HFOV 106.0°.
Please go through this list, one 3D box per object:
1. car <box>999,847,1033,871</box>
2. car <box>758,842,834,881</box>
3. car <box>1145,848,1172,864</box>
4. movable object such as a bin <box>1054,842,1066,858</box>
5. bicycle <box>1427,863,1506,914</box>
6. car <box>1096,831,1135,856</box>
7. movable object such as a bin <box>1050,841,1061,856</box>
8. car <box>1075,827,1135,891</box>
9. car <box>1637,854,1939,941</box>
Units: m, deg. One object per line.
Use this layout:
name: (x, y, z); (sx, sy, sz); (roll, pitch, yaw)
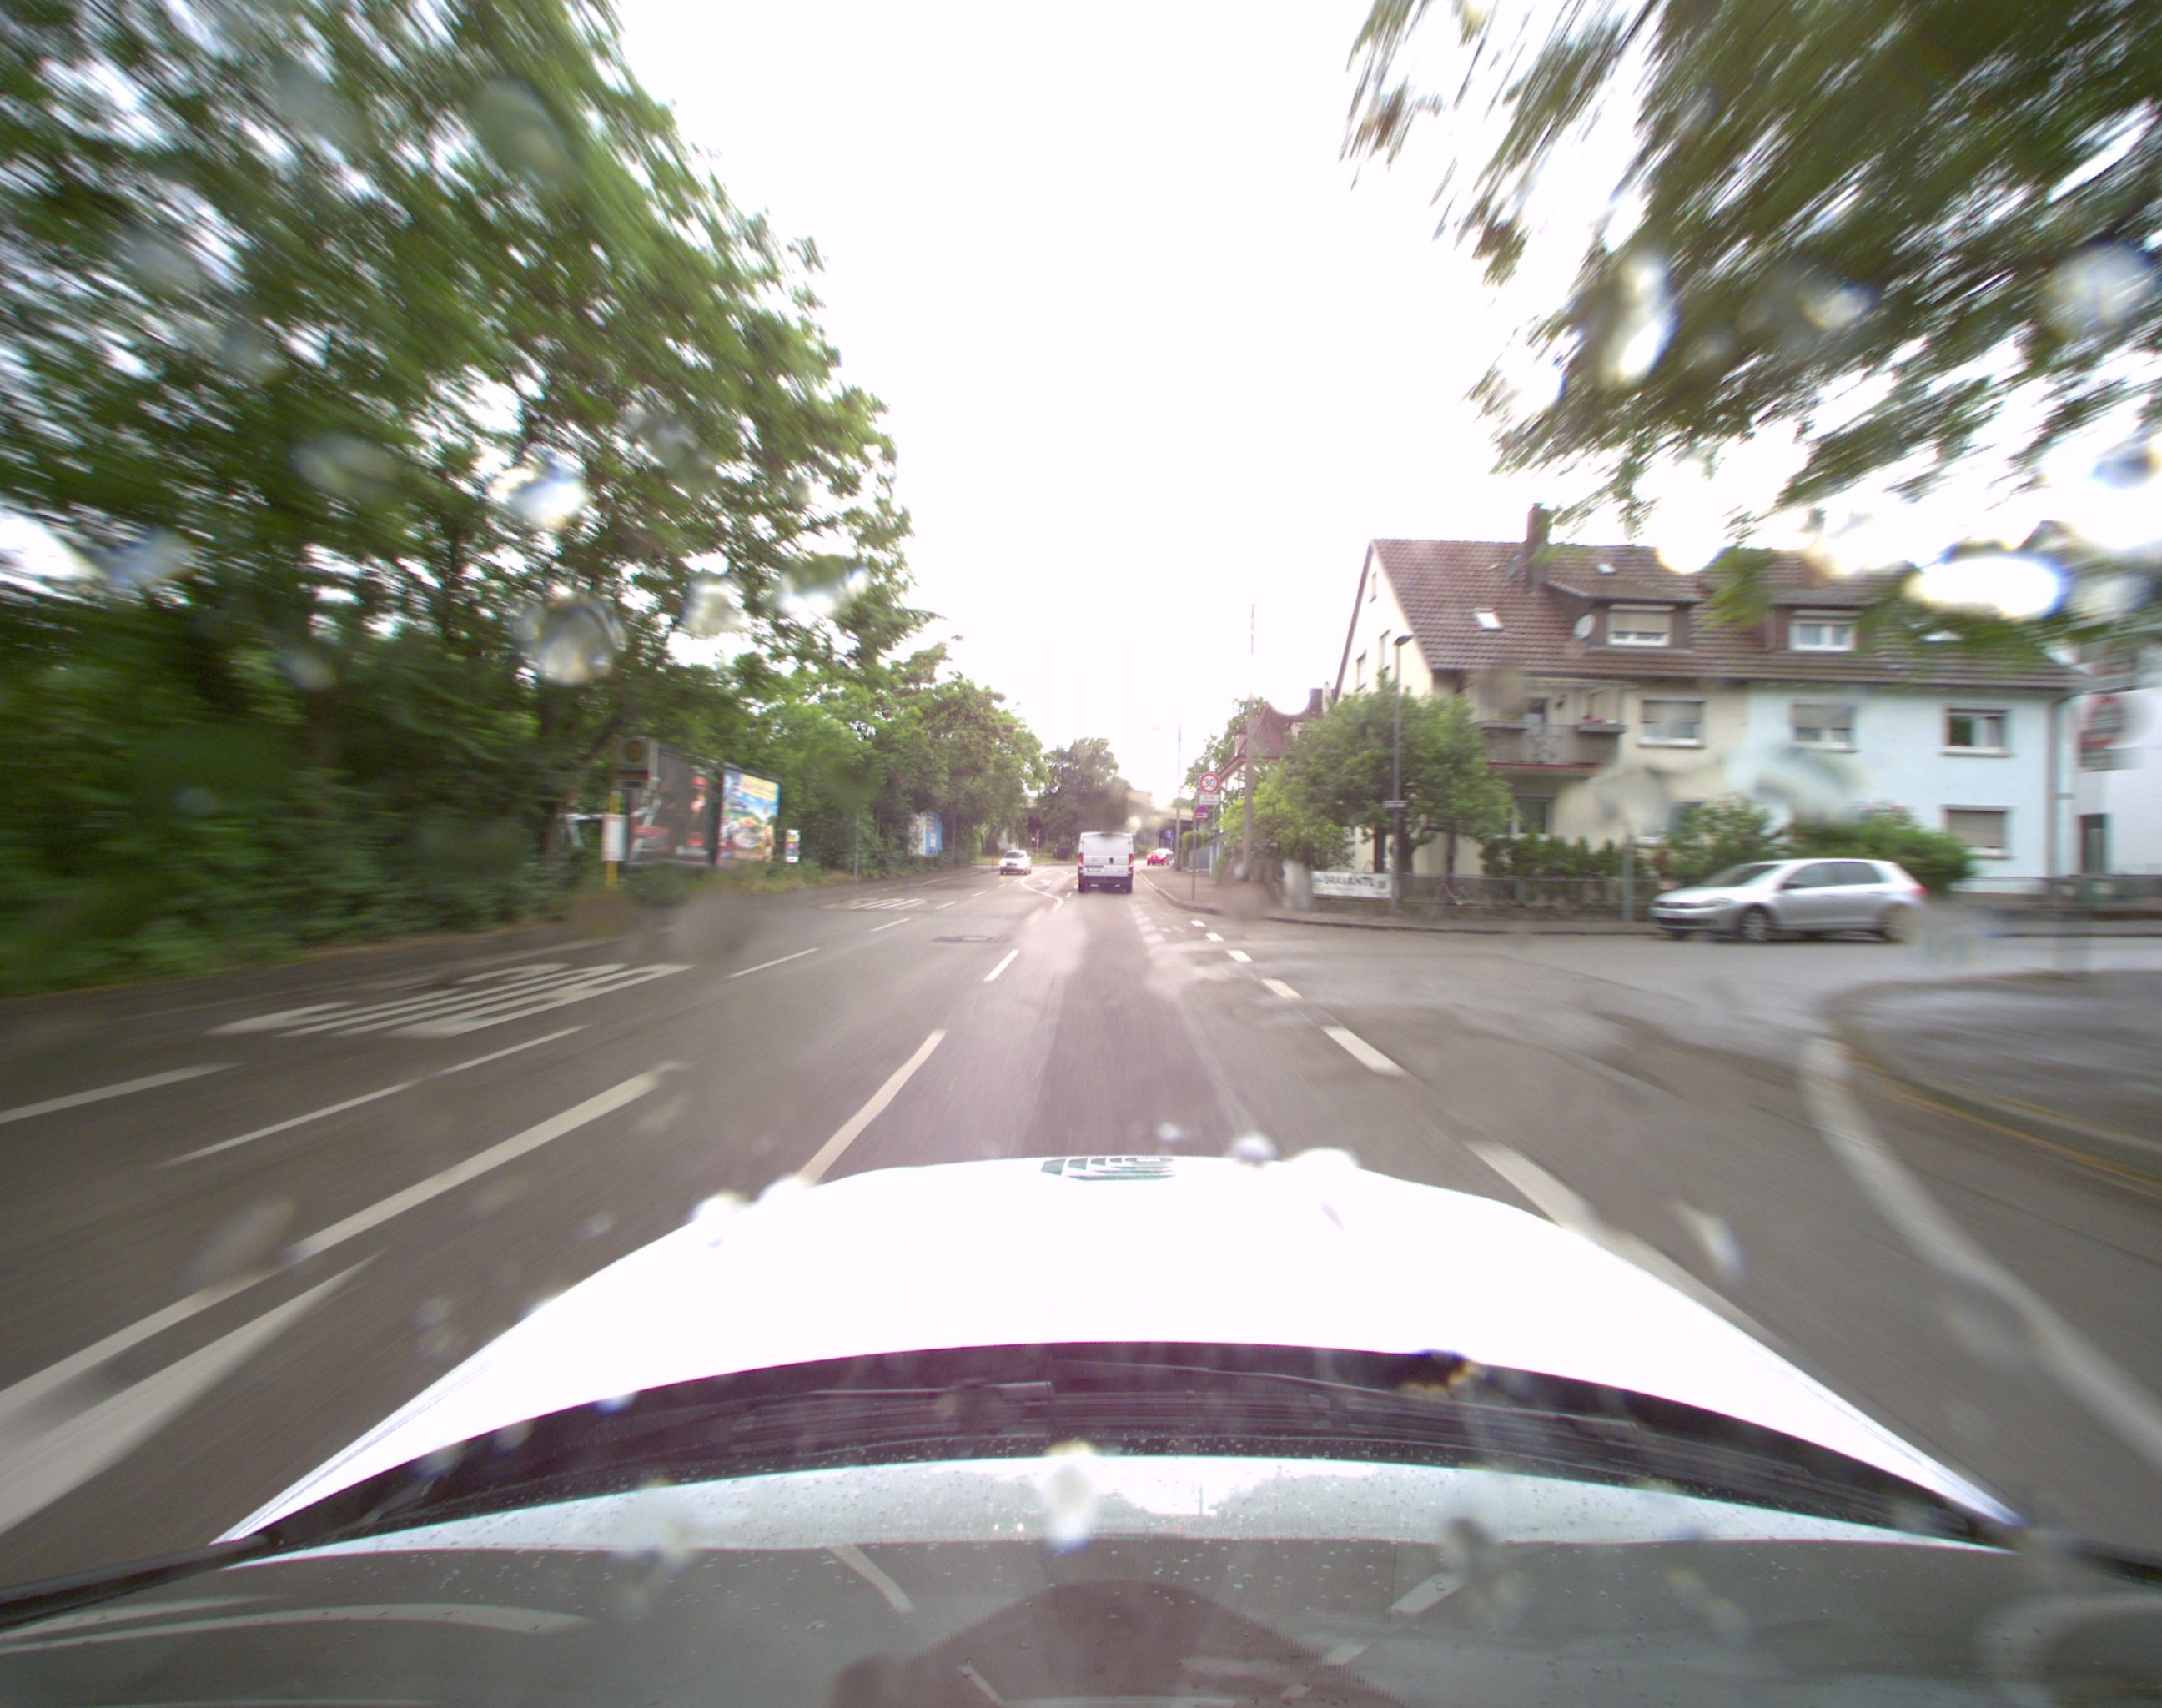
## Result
car: (-3.989, 0.283, 50.496); (1.648, 1.417, 3.937); (-1, 1, 1)
car: (-12.008, 0.294, 34.591); (1.696, 1.494, 4.001); (2, 0, 1)
car: (8.005, 0.206, 83.894); (1.751, 1.510, 3.774); (2, 1, 21)
movable object such as a bin: (-2.280, -0.434, 89.502); (0.935, 1.563, 1.132); (7, 1, 6)
bicycle: (8.761, 0.776, 18.521); (1.563, 1.115, 0.458); (0, 0, 5)
car: (4.378, -1.271, 101.298); (2.513, 3.018, 7.248); (2, 1, 21)
movable object such as a bin: (-2.816, -0.567, 90.872); (0.935, 1.563, 1.132); (7, 1, 6)
car: (0.917, 0.197, 32.006); (2.139, 2.283, 5.063); (1, 0, 1)
car: (12.527, 0.752, 14.610); (3.975, 1.423, 1.703); (0, -1, -1)
